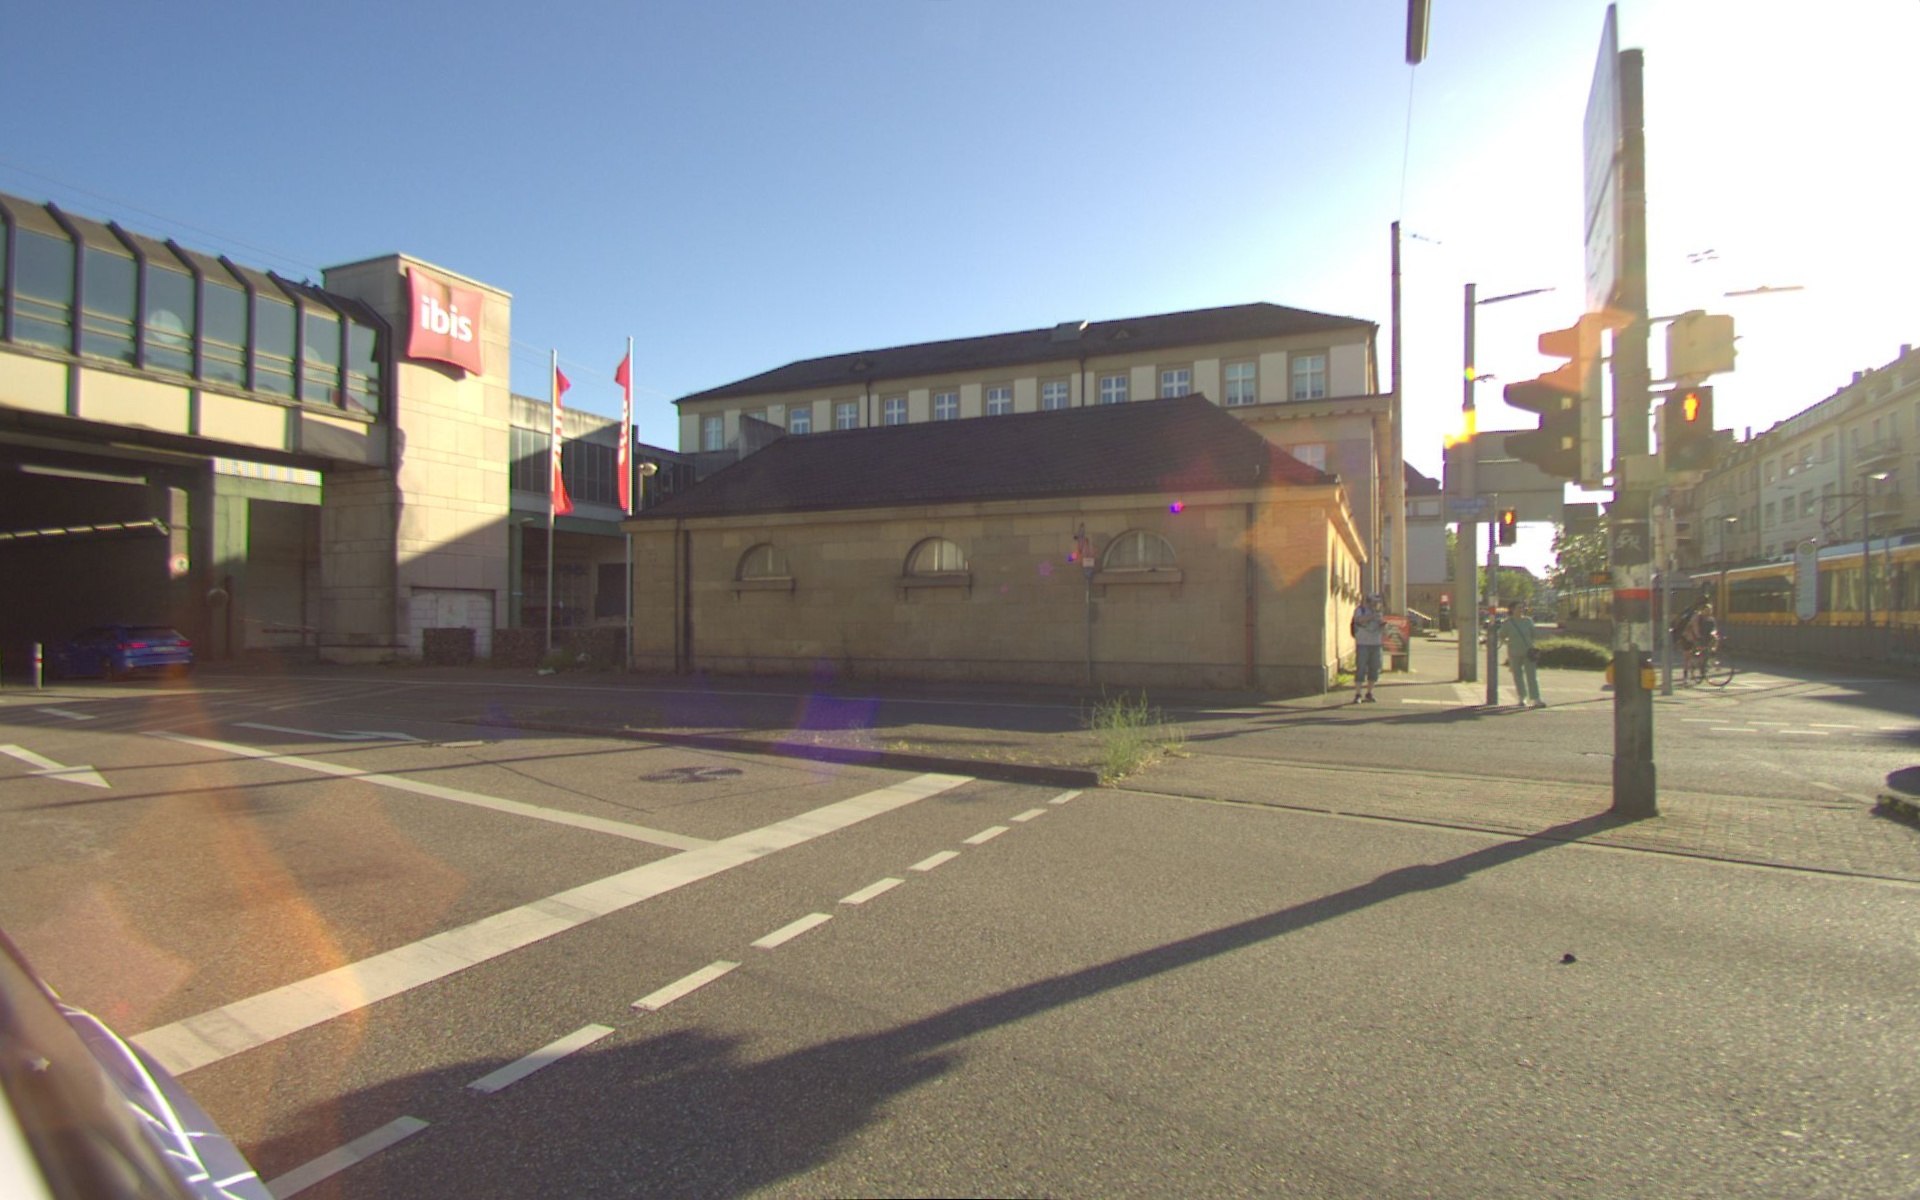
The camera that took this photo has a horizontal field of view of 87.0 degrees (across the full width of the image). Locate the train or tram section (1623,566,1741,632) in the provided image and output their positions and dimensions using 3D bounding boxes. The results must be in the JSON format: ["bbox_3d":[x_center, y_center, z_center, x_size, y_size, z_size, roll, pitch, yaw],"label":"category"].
[{"bbox_3d":[40.418,-0.011,57.092,3.146,3.382,10.764,-1,0,23],"label":"train or tram section"}]

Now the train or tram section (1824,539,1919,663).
[{"bbox_3d":[27.548,0.013,27.225,3.148,3.346,11.724,-1,-1,23],"label":"train or tram section"}]

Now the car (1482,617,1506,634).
[{"bbox_3d":[58.334,2.757,110.618,1.988,1.829,4.335,-1,-2,25],"label":"car"}]

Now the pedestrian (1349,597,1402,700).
[{"bbox_3d":[6.772,0.777,16.524,0.616,1.652,0.515,0,-1,-3],"label":"pedestrian"}]

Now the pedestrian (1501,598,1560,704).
[{"bbox_3d":[9.032,0.799,16.036,0.616,1.652,0.489,0,-1,-3],"label":"pedestrian"}]

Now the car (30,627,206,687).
[{"bbox_3d":[-21.382,1.416,25.706,4.221,1.401,1.801,-1,-1,24],"label":"car"}]

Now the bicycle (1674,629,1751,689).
[{"bbox_3d":[15.980,1.223,21.547,0.680,1.145,2.062,-1,0,18],"label":"bicycle"}]

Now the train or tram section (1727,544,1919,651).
[{"bbox_3d":[31.970,-0.057,37.486,3.146,3.382,10.596,-1,0,23],"label":"train or tram section"}]

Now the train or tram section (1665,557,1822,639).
[{"bbox_3d":[36.157,-0.034,47.275,3.146,3.382,10.764,-1,0,23],"label":"train or tram section"}]

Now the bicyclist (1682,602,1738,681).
[{"bbox_3d":[16.004,0.875,21.610,0.672,1.652,0.934,-1,-1,19],"label":"bicyclist"}]
